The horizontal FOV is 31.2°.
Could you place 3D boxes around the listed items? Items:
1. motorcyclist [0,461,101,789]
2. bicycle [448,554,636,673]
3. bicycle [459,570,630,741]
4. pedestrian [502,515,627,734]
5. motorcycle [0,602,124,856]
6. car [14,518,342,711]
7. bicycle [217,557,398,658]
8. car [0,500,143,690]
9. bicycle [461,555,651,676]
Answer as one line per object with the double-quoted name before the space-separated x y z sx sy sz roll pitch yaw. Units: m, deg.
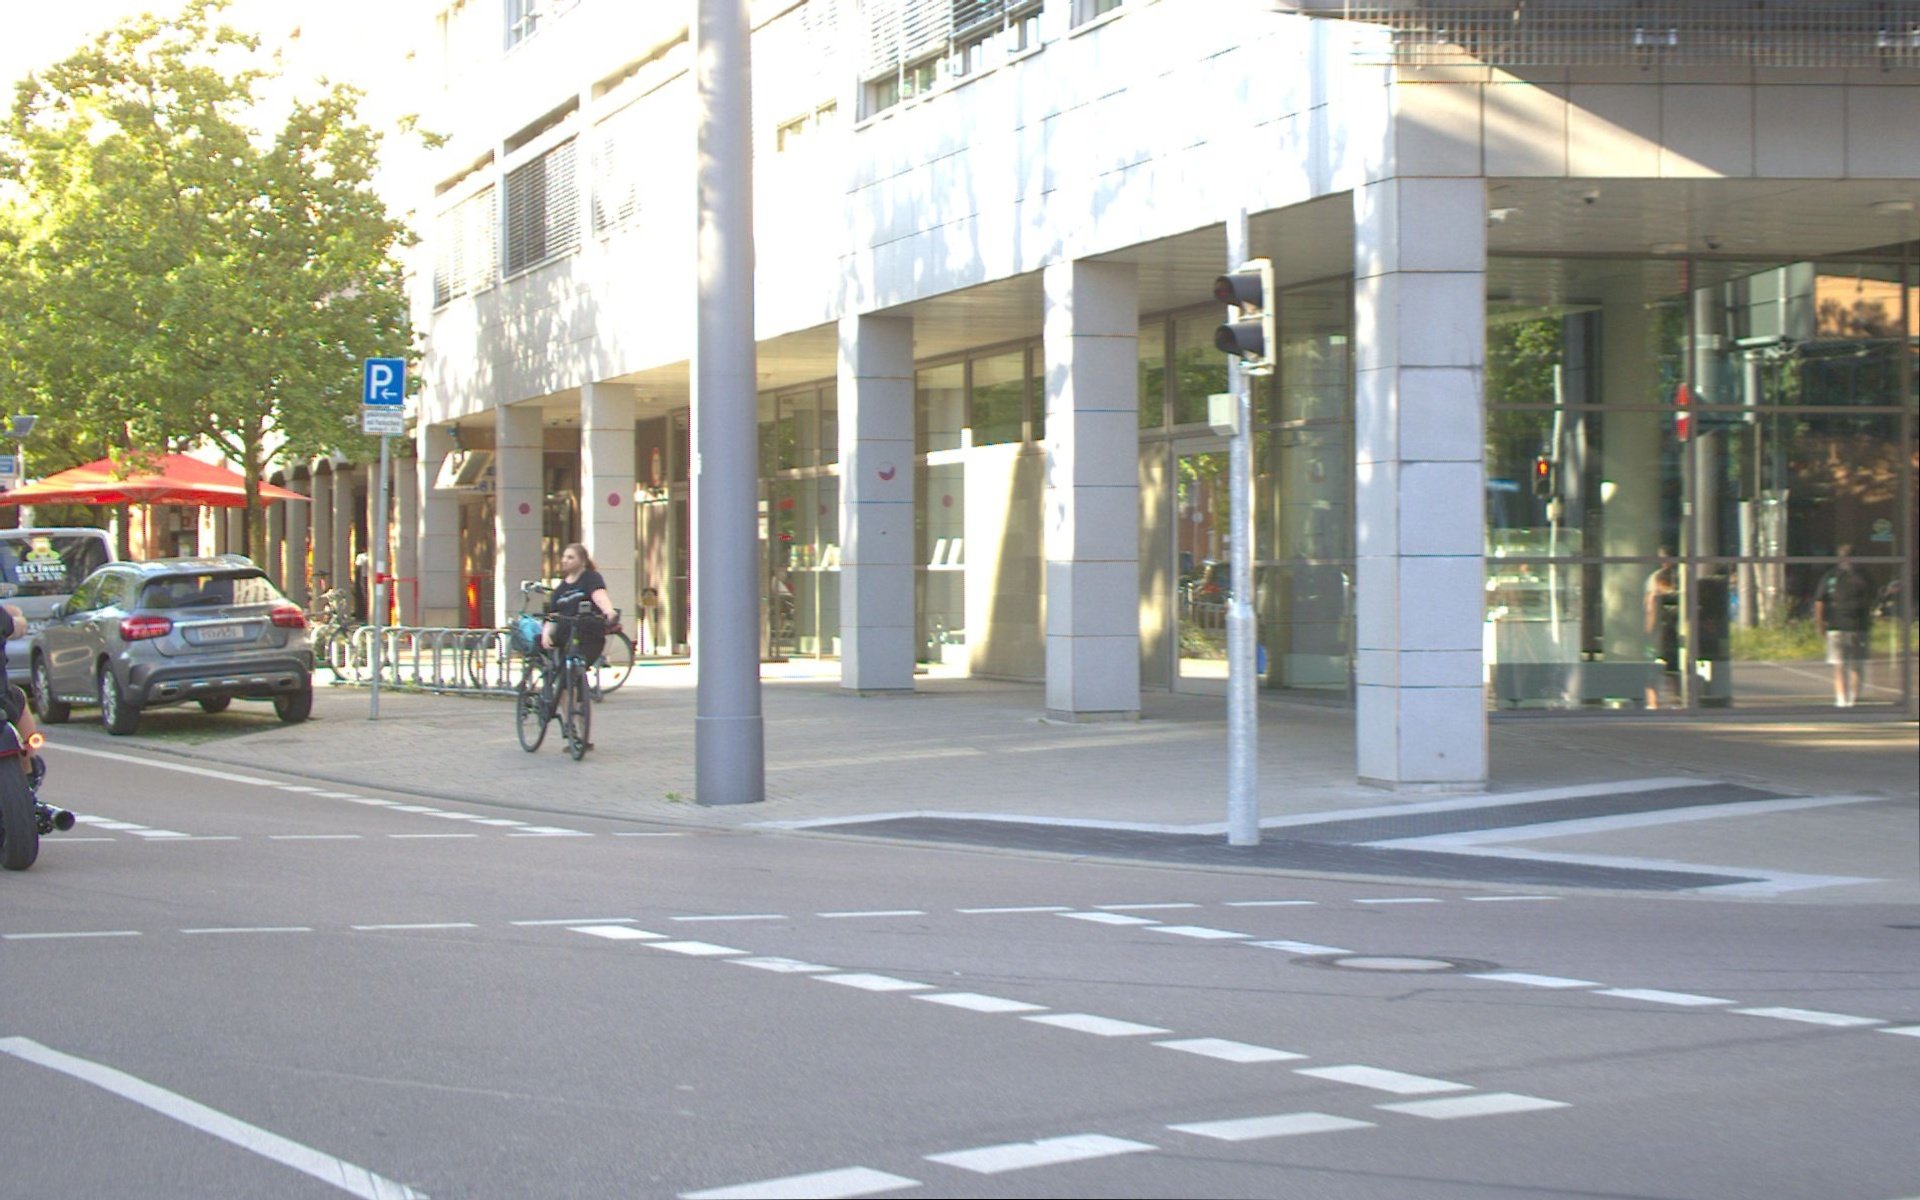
"motorcyclist" -4.838 0.097 16.758 1.022 1.547 1.287 -1 2 -25
"bicycle" -4.298 0.130 35.381 1.832 1.147 0.470 -2 2 -24
"bicycle" -3.177 0.400 26.143 0.611 1.159 1.848 -5 4 -28
"pedestrian" -3.028 0.174 26.298 0.604 1.605 0.837 -4 4 -28
"motorcycle" -4.829 0.593 16.765 1.005 1.121 2.323 -1 1 -25
"car" -7.305 0.088 31.807 1.859 1.567 4.415 -4 2 -27
"bicycle" -7.351 0.074 38.759 1.867 1.097 0.741 -1 1 -33
"car" -10.420 -0.070 36.600 1.922 1.837 4.925 -4 2 -30
"bicycle" -4.098 0.147 34.947 1.832 1.147 0.470 -2 2 -24
